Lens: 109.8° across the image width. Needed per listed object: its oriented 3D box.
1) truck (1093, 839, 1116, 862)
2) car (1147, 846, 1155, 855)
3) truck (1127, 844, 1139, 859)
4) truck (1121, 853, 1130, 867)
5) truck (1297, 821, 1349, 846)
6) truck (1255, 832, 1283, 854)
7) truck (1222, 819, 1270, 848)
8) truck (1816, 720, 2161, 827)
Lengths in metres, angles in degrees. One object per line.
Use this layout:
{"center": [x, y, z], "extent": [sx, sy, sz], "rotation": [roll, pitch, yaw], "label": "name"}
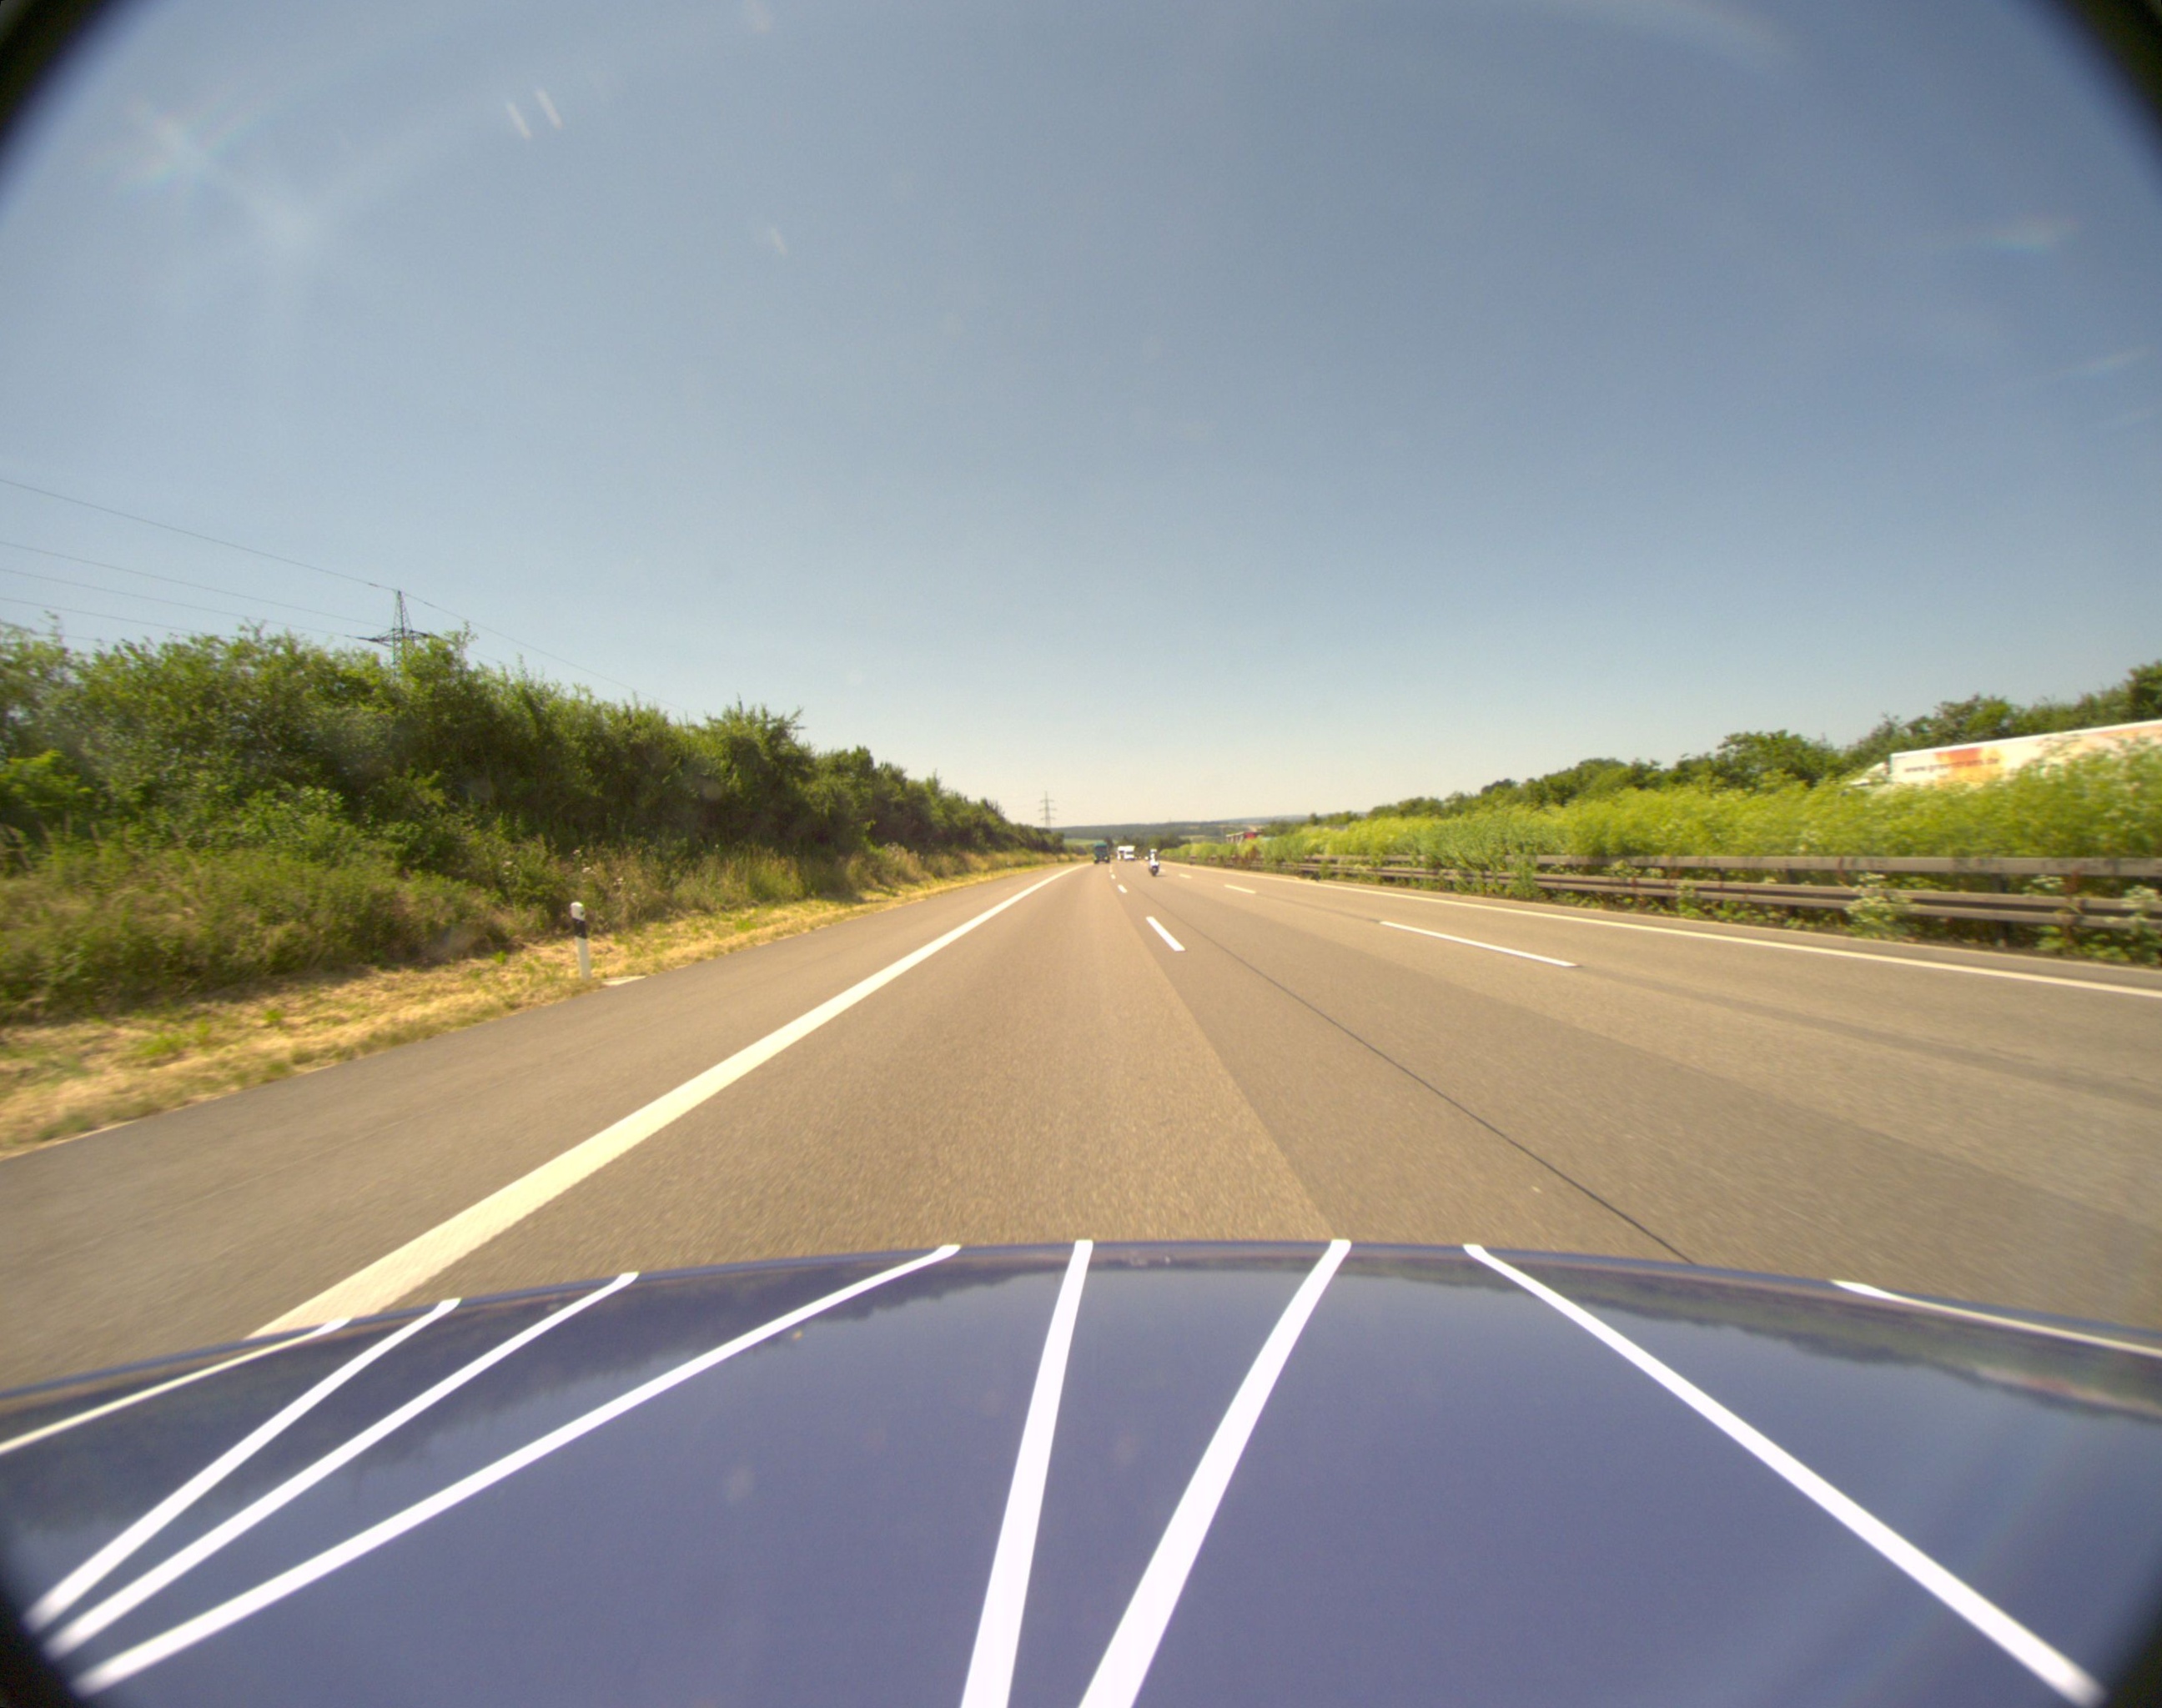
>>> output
{"center": [4.197, -0.606, 133.121], "extent": [2.871, 3.702, 12.769], "rotation": [-1, 0, 7], "label": "truck"}
{"center": [15.388, -0.720, 167.144], "extent": [1.704, 1.958, 4.001], "rotation": [-1, 0, 4], "label": "car"}
{"center": [11.659, -0.559, 170.264], "extent": [2.512, 3.268, 8.108], "rotation": [-1, 0, 2], "label": "truck"}
{"center": [13.571, 1.822, 233.097], "extent": [2.567, 4.129, 6.249], "rotation": [-1, 0, 2], "label": "truck"}
{"center": [21.660, -1.804, 68.485], "extent": [2.498, 2.002, 6.796], "rotation": [-1, 0, 0], "label": "truck"}
{"center": [17.950, -1.069, 72.718], "extent": [1.860, 2.002, 4.000], "rotation": [-1, 0, 2], "label": "truck"}
{"center": [24.304, -2.913, 113.278], "extent": [3.238, 3.590, 18.532], "rotation": [-4, 0, 1], "label": "truck"}
{"center": [24.643, -1.897, 19.257], "extent": [2.659, 2.002, 9.858], "rotation": [-1, 0, 1], "label": "truck"}
